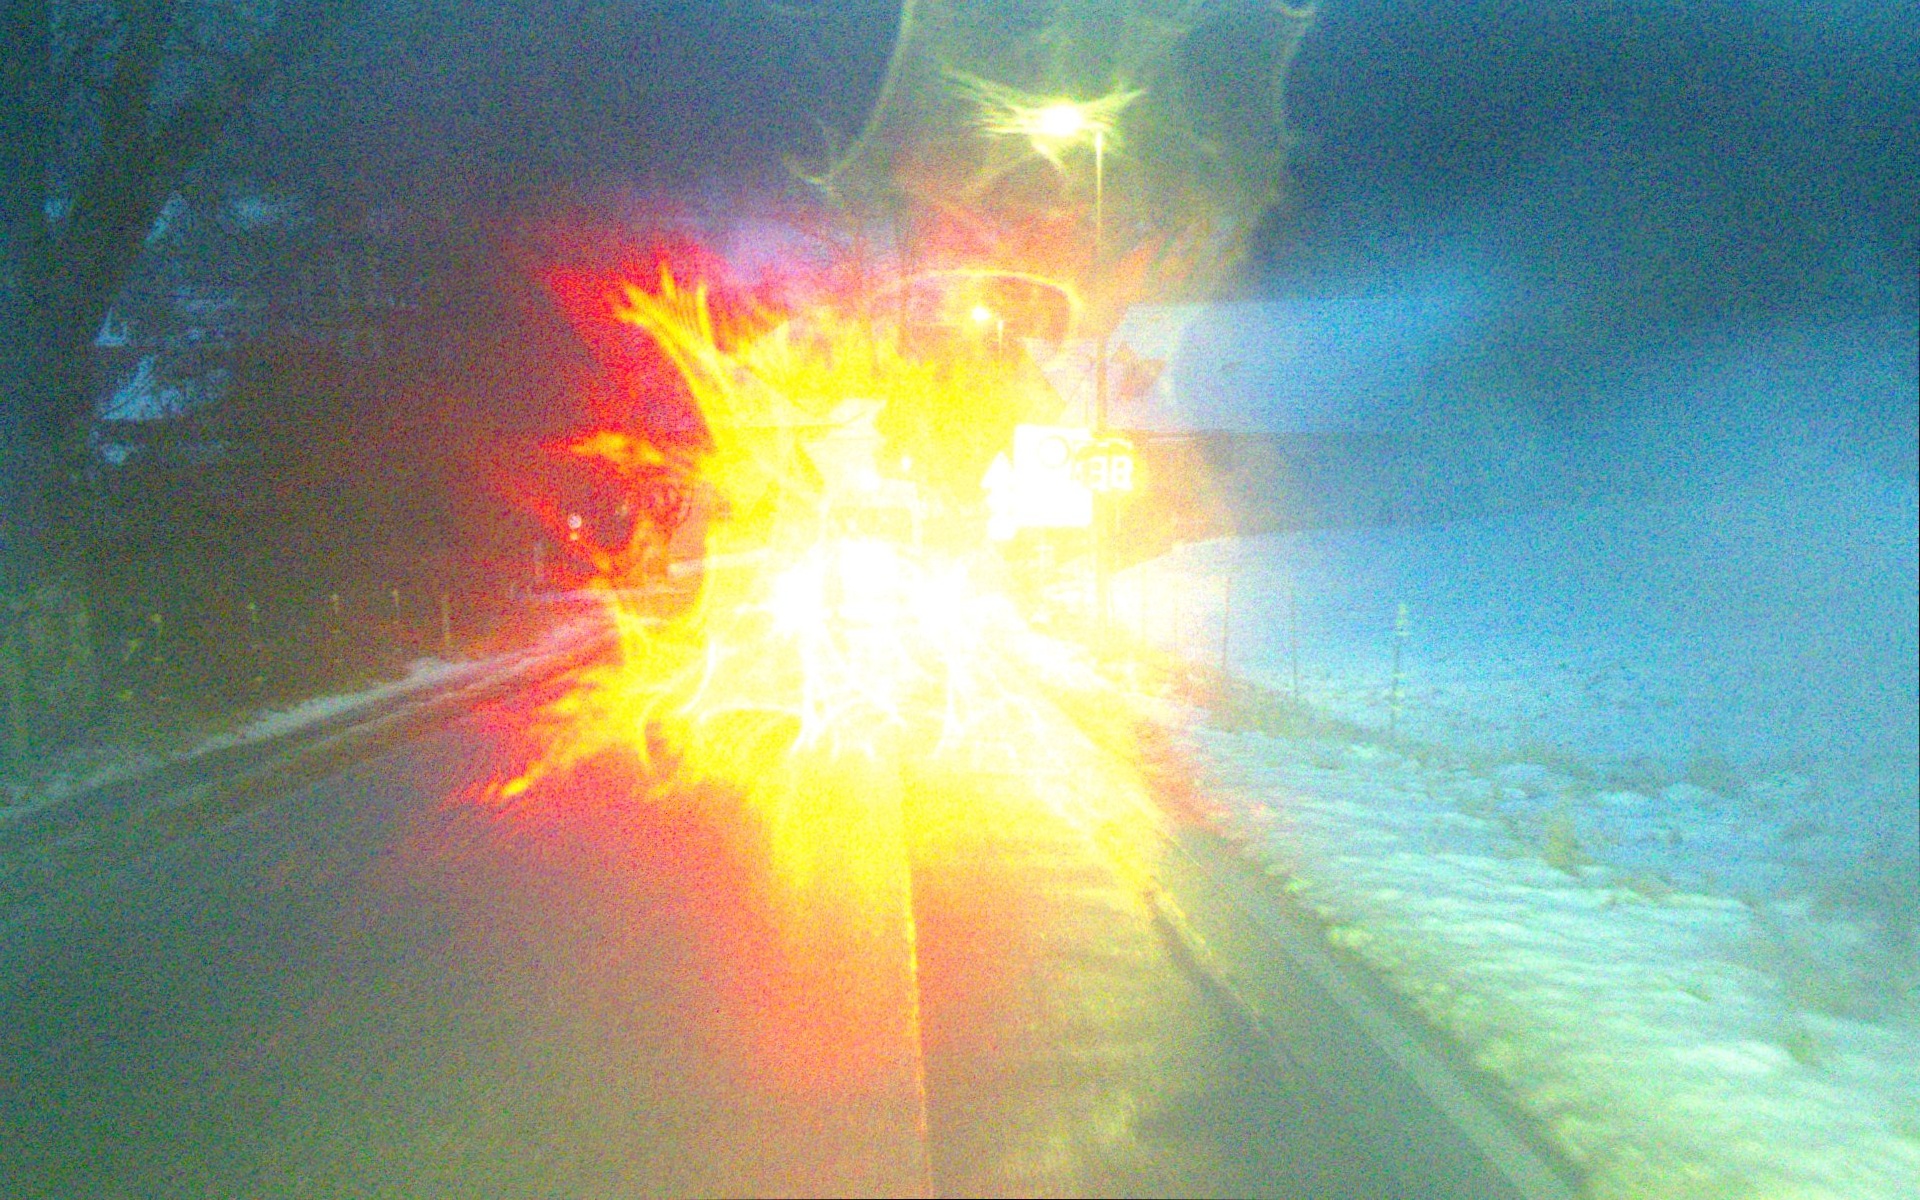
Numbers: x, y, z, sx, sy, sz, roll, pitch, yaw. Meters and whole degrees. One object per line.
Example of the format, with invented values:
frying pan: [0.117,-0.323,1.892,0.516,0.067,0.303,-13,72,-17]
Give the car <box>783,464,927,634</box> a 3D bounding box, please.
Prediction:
car: [-1.951,-0.908,65.622,2.435,3.008,5.324,-2,-1,1]

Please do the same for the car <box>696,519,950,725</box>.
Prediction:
car: [-1.306,0.196,33.477,2.274,1.834,5.007,0,0,-2]
